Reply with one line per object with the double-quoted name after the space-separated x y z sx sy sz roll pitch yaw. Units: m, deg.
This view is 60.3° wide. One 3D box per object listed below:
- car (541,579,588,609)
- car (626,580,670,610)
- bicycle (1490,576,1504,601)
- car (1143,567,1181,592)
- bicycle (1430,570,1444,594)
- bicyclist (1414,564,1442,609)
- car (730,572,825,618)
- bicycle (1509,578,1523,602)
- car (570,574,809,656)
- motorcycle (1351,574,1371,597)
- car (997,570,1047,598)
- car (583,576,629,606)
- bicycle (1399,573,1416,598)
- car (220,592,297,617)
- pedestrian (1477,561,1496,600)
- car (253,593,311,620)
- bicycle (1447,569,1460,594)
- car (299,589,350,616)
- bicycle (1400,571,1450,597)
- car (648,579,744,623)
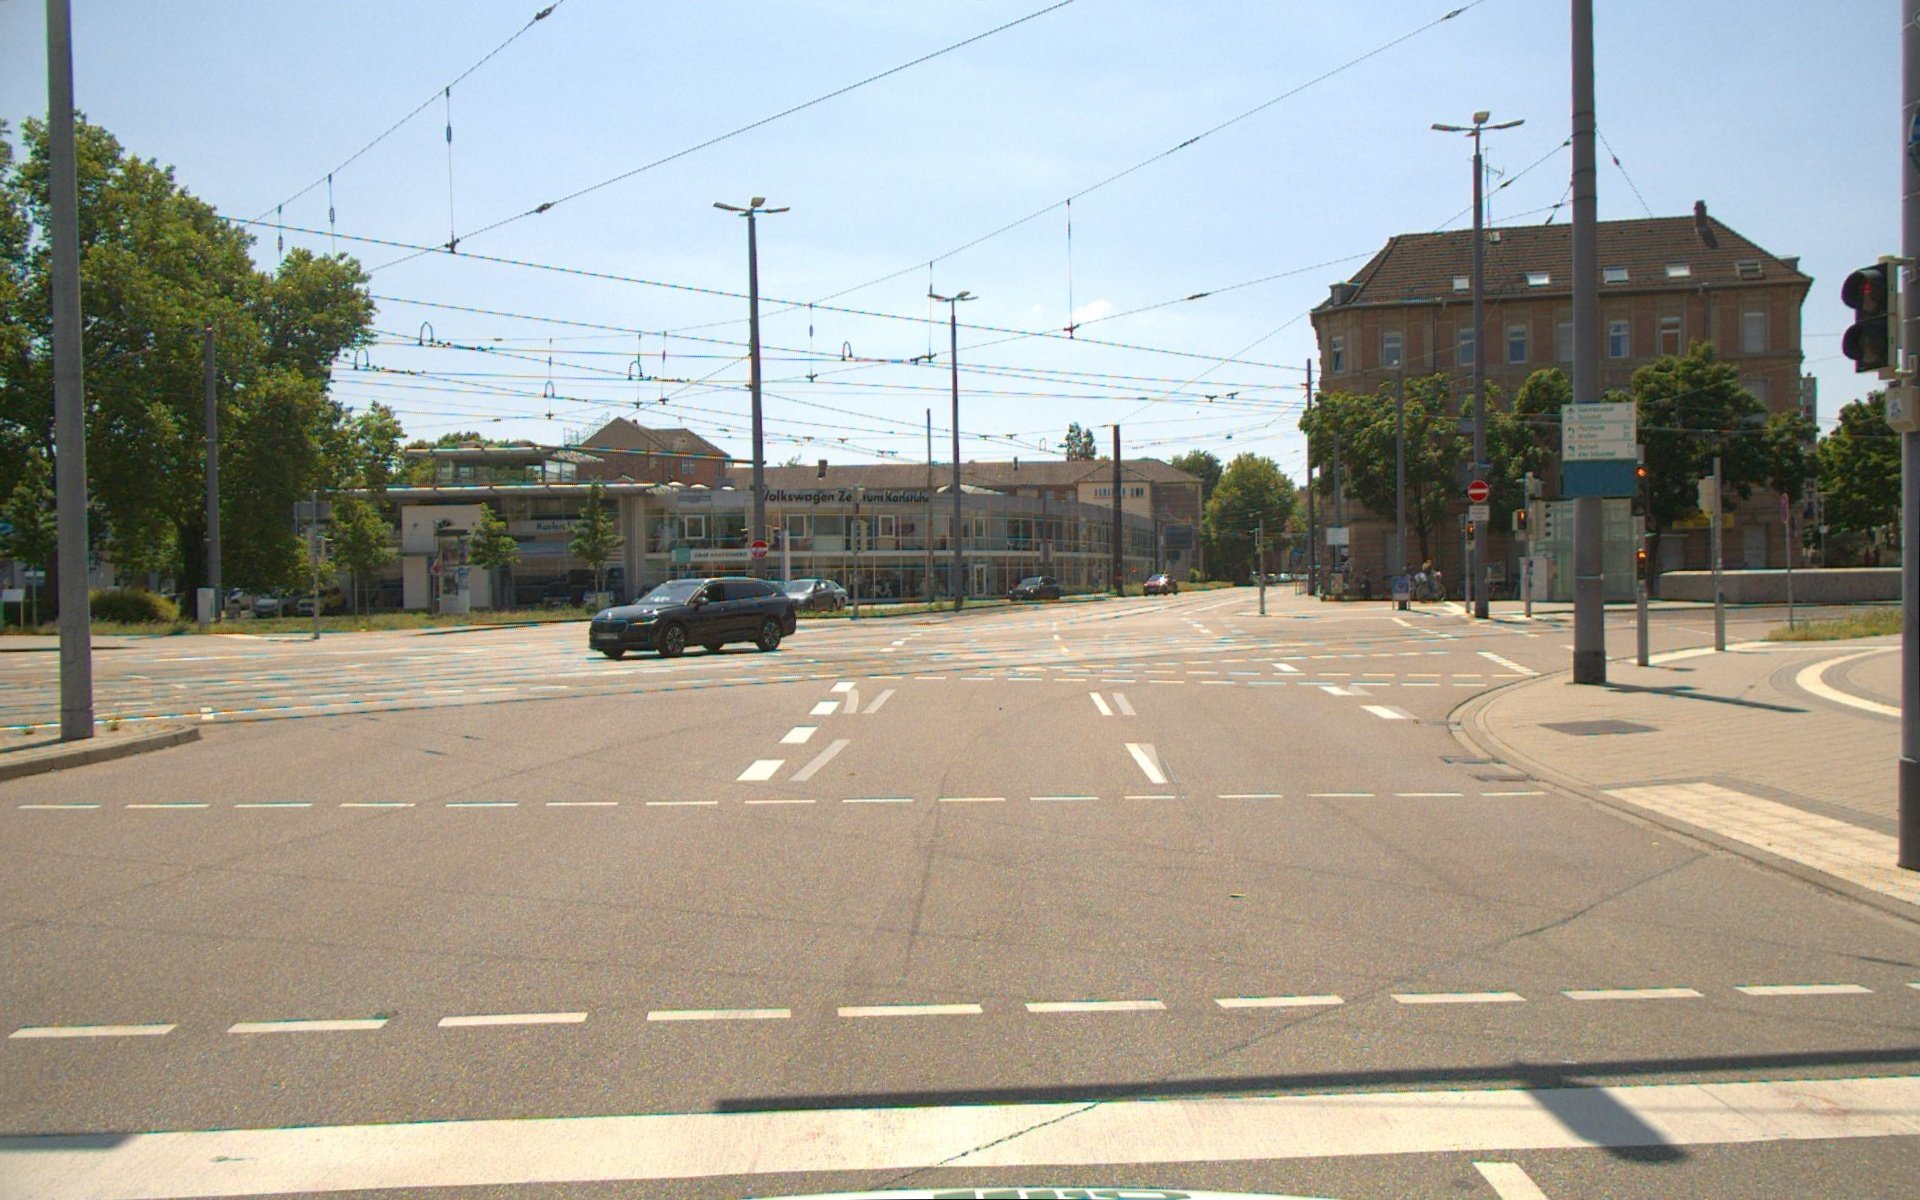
-23.860 -0.365 99.931 1.881 1.737 4.000 1 0 0 "car"
-18.751 -0.276 99.657 1.881 1.737 4.000 1 0 0 "car"
25.728 -0.553 79.216 0.539 1.139 1.872 -1 1 15 "bicycle"
15.213 -1.531 124.408 1.953 1.807 4.000 1 0 21 "car"
22.821 -0.864 79.139 0.539 1.139 1.821 -1 1 19 "bicycle"
19.515 -0.555 68.981 1.047 1.839 0.475 1 -1 -26 "bicyclist"
-7.052 -0.219 64.296 1.951 1.666 4.850 -1 1 16 "car"
26.578 -0.486 79.061 0.539 1.139 1.931 -1 1 15 "bicycle"
-5.314 0.252 33.117 1.958 1.491 4.832 -1 1 34 "car"
19.272 -0.704 79.509 0.568 1.093 1.947 -1 1 3 "motorcycle"
3.945 -1.022 105.004 2.034 1.712 4.850 -1 1 16 "car"
-21.354 -0.522 99.815 1.881 1.737 4.000 1 0 0 "car"
21.605 -0.676 79.889 0.433 1.166 2.095 1 0 6 "bicycle"
-45.220 0.279 106.608 4.279 1.536 1.750 -1 1 -36 "car"
23.114 -0.856 72.636 0.456 1.738 0.633 -1 0 -32 "pedestrian"
-41.394 0.384 101.005 1.731 1.536 4.327 -1 1 0 "car"
23.587 -0.893 79.095 0.539 1.139 1.822 -1 1 15 "bicycle"
-38.686 0.138 100.773 1.733 1.536 4.322 -1 1 -5 "car"
19.386 -0.671 68.943 2.079 1.071 0.687 -1 1 -26 "bicycle"
-10.173 0.003 64.139 2.032 1.607 4.851 -1 1 13 "car"
